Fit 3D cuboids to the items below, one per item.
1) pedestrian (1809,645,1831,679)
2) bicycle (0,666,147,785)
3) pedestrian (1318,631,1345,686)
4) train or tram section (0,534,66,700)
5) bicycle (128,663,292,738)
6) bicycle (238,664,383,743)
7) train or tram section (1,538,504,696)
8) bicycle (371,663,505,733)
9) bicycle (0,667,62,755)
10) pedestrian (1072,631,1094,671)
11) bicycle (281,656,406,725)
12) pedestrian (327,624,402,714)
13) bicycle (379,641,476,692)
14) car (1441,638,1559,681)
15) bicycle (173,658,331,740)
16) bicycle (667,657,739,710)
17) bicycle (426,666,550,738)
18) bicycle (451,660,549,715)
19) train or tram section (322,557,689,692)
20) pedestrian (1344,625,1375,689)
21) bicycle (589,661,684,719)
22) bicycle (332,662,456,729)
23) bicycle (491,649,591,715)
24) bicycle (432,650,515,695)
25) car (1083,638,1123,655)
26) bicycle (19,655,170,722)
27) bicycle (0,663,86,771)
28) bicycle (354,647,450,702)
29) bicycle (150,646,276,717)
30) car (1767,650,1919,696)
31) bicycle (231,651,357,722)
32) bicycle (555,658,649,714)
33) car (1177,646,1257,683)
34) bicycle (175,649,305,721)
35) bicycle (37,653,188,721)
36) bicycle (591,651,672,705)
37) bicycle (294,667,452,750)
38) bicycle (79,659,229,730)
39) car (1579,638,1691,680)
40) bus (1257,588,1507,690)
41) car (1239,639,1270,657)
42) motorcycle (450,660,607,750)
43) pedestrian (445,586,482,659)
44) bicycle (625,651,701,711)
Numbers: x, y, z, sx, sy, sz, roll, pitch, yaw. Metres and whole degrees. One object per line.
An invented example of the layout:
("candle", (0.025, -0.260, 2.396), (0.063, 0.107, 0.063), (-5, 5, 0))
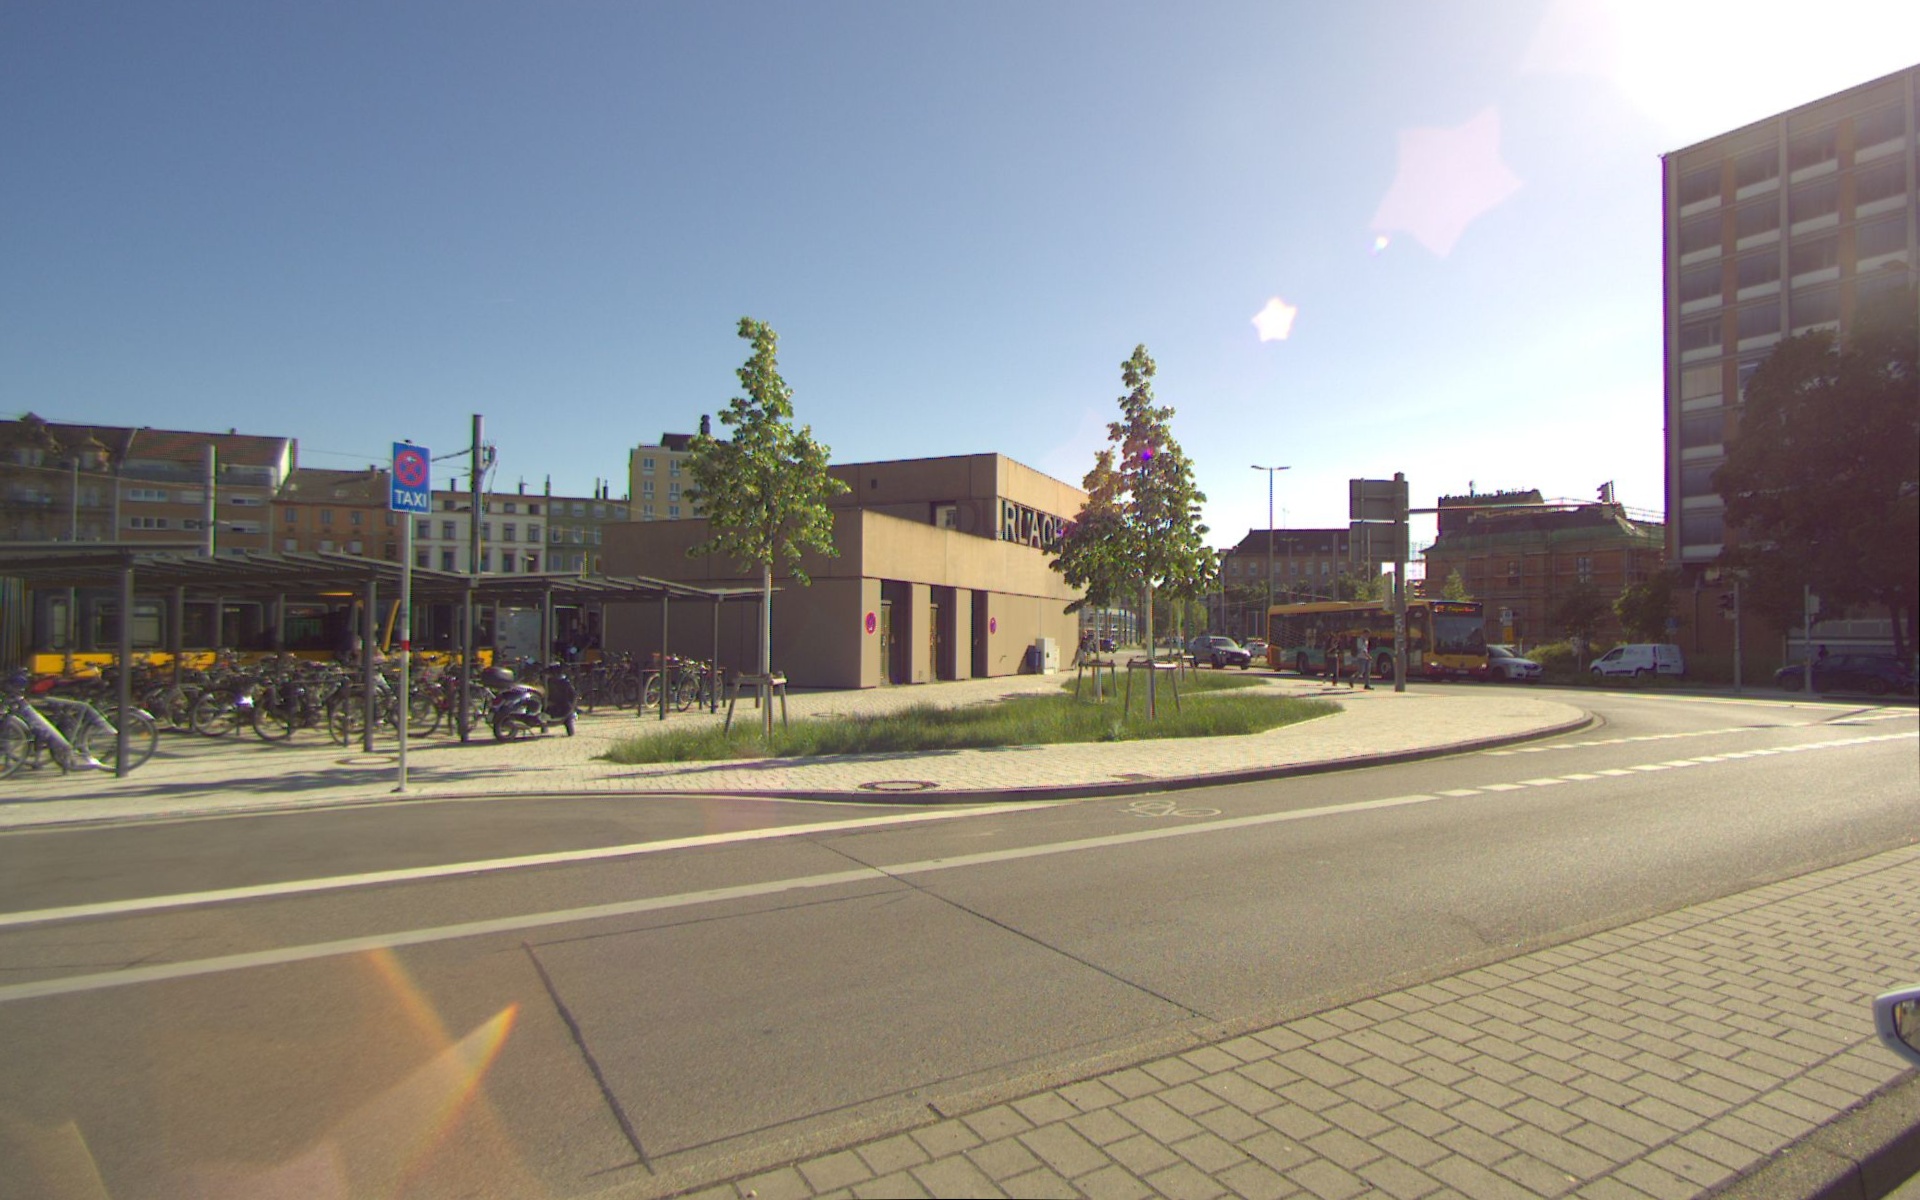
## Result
("pedestrian", (40.421, 2.915, 47.225), (0.545, 1.591, 0.534), (0, -1, -5))
("bicycle", (-9.867, 1.310, 10.646), (0.617, 1.173, 1.829), (0, -2, 25))
("pedestrian", (11.807, 1.848, 31.931), (0.594, 1.719, 0.634), (1, -1, -7))
("train or tram section", (-24.481, 0.233, 18.186), (2.748, 3.648, 12.320), (0, -2, 24))
("bicycle", (-11.624, 1.523, 15.659), (0.616, 1.021, 2.004), (0, -2, 22))
("bicycle", (-9.528, 1.490, 14.815), (0.539, 1.021, 1.749), (0, -2, 28))
("train or tram section", (-19.461, 0.588, 29.434), (2.779, 3.648, 12.320), (0, -2, 24))
("bicycle", (-8.638, 1.601, 16.721), (0.617, 1.021, 2.026), (0, -2, 25))
("bicycle", (-11.948, 1.338, 11.873), (0.732, 1.021, 1.829), (0, -2, 25))
("pedestrian", (5.850, 2.419, 47.835), (0.826, 1.870, 0.866), (0, -1, -7))
("bicycle", (-10.793, 1.561, 17.652), (0.617, 1.094, 1.829), (0, -2, 25))
("pedestrian", (-11.798, 1.347, 19.902), (1.005, 1.727, 0.838), (0, -1, 26))
("bicycle", (-11.530, 1.418, 21.803), (0.617, 1.021, 1.828), (0, -2, 27))
("car", (20.741, 2.255, 38.725), (1.861, 1.421, 3.846), (4, -2, -14))
("bicycle", (-10.701, 1.468, 15.255), (0.616, 1.107, 1.879), (0, -2, 27))
("bicycle", (-5.356, 1.725, 21.047), (0.616, 1.021, 1.832), (0, -2, 16))
("bicycle", (-7.553, 1.603, 16.174), (0.617, 1.021, 1.829), (0, -2, 25))
("bicycle", (-9.397, 1.769, 20.584), (0.617, 1.021, 1.828), (0, -2, 27))
("train or tram section", (-14.236, 0.854, 33.473), (2.702, 3.648, 12.318), (0, -2, 25))
("pedestrian", (11.796, 1.678, 29.668), (0.594, 1.880, 0.681), (1, -1, -7))
("bicycle", (-6.199, 1.705, 19.342), (0.617, 1.021, 1.828), (0, -2, 27))
("bicycle", (-9.624, 1.594, 17.158), (0.617, 1.021, 1.829), (0, -2, 25))
("bicycle", (-8.419, 1.626, 20.279), (0.496, 1.225, 2.051), (0, -2, 26))
("bicycle", (-11.805, 1.749, 24.440), (0.617, 1.021, 1.829), (0, -2, 25))
("car", (15.765, 5.152, 110.965), (3.928, 1.603, 1.996), (2, 0, 30))
("bicycle", (-14.639, 1.469, 17.053), (0.617, 1.021, 1.829), (0, -2, 24))
("bicycle", (-10.909, 1.304, 11.063), (0.617, 1.163, 1.829), (0, -2, 25))
("bicycle", (-12.451, 1.636, 22.462), (0.617, 1.146, 1.828), (0, -2, 27))
("bicycle", (-14.081, 1.510, 18.990), (0.617, 1.249, 1.829), (0, -2, 25))
("car", (31.370, 2.531, 35.547), (2.070, 1.468, 3.896), (1, -2, -20))
("bicycle", (-11.951, 1.528, 18.101), (0.617, 1.176, 1.829), (0, -2, 25))
("bicycle", (-7.146, 1.704, 20.155), (0.492, 1.010, 1.887), (0, -2, 31))
("car", (14.239, 3.521, 55.877), (1.975, 1.885, 4.719), (1, -2, -21))
("bicycle", (-13.072, 1.516, 18.302), (0.636, 1.204, 1.829), (0, -2, 25))
("bicycle", (-14.043, 1.419, 16.703), (0.617, 1.021, 1.830), (0, -2, 23))
("bicycle", (-7.285, 1.702, 22.343), (0.617, 1.107, 1.829), (0, -2, 25))
("bicycle", (-8.437, 1.526, 14.529), (0.677, 1.055, 1.891), (0, -2, 27))
("bicycle", (-12.887, 1.484, 16.129), (0.616, 1.021, 1.831), (0, -2, 18))
("car", (32.824, 2.829, 48.981), (2.176, 1.905, 4.176), (1, -2, -12))
("bus", (17.008, 1.571, 42.216), (3.193, 3.617, 12.436), (1, -2, -12))
("car", (29.591, 4.775, 100.968), (1.960, 1.603, 4.001), (2, 0, 2))
("motorcycle", (-6.431, 1.525, 15.133), (0.599, 1.173, 2.360), (0, -2, 25))
("pedestrian", (-12.891, 0.592, 26.087), (0.738, 1.880, 0.709), (1, -1, -19))
("bicycle", (-6.277, 1.693, 21.342), (0.616, 1.161, 1.831), (0, -2, 18))
